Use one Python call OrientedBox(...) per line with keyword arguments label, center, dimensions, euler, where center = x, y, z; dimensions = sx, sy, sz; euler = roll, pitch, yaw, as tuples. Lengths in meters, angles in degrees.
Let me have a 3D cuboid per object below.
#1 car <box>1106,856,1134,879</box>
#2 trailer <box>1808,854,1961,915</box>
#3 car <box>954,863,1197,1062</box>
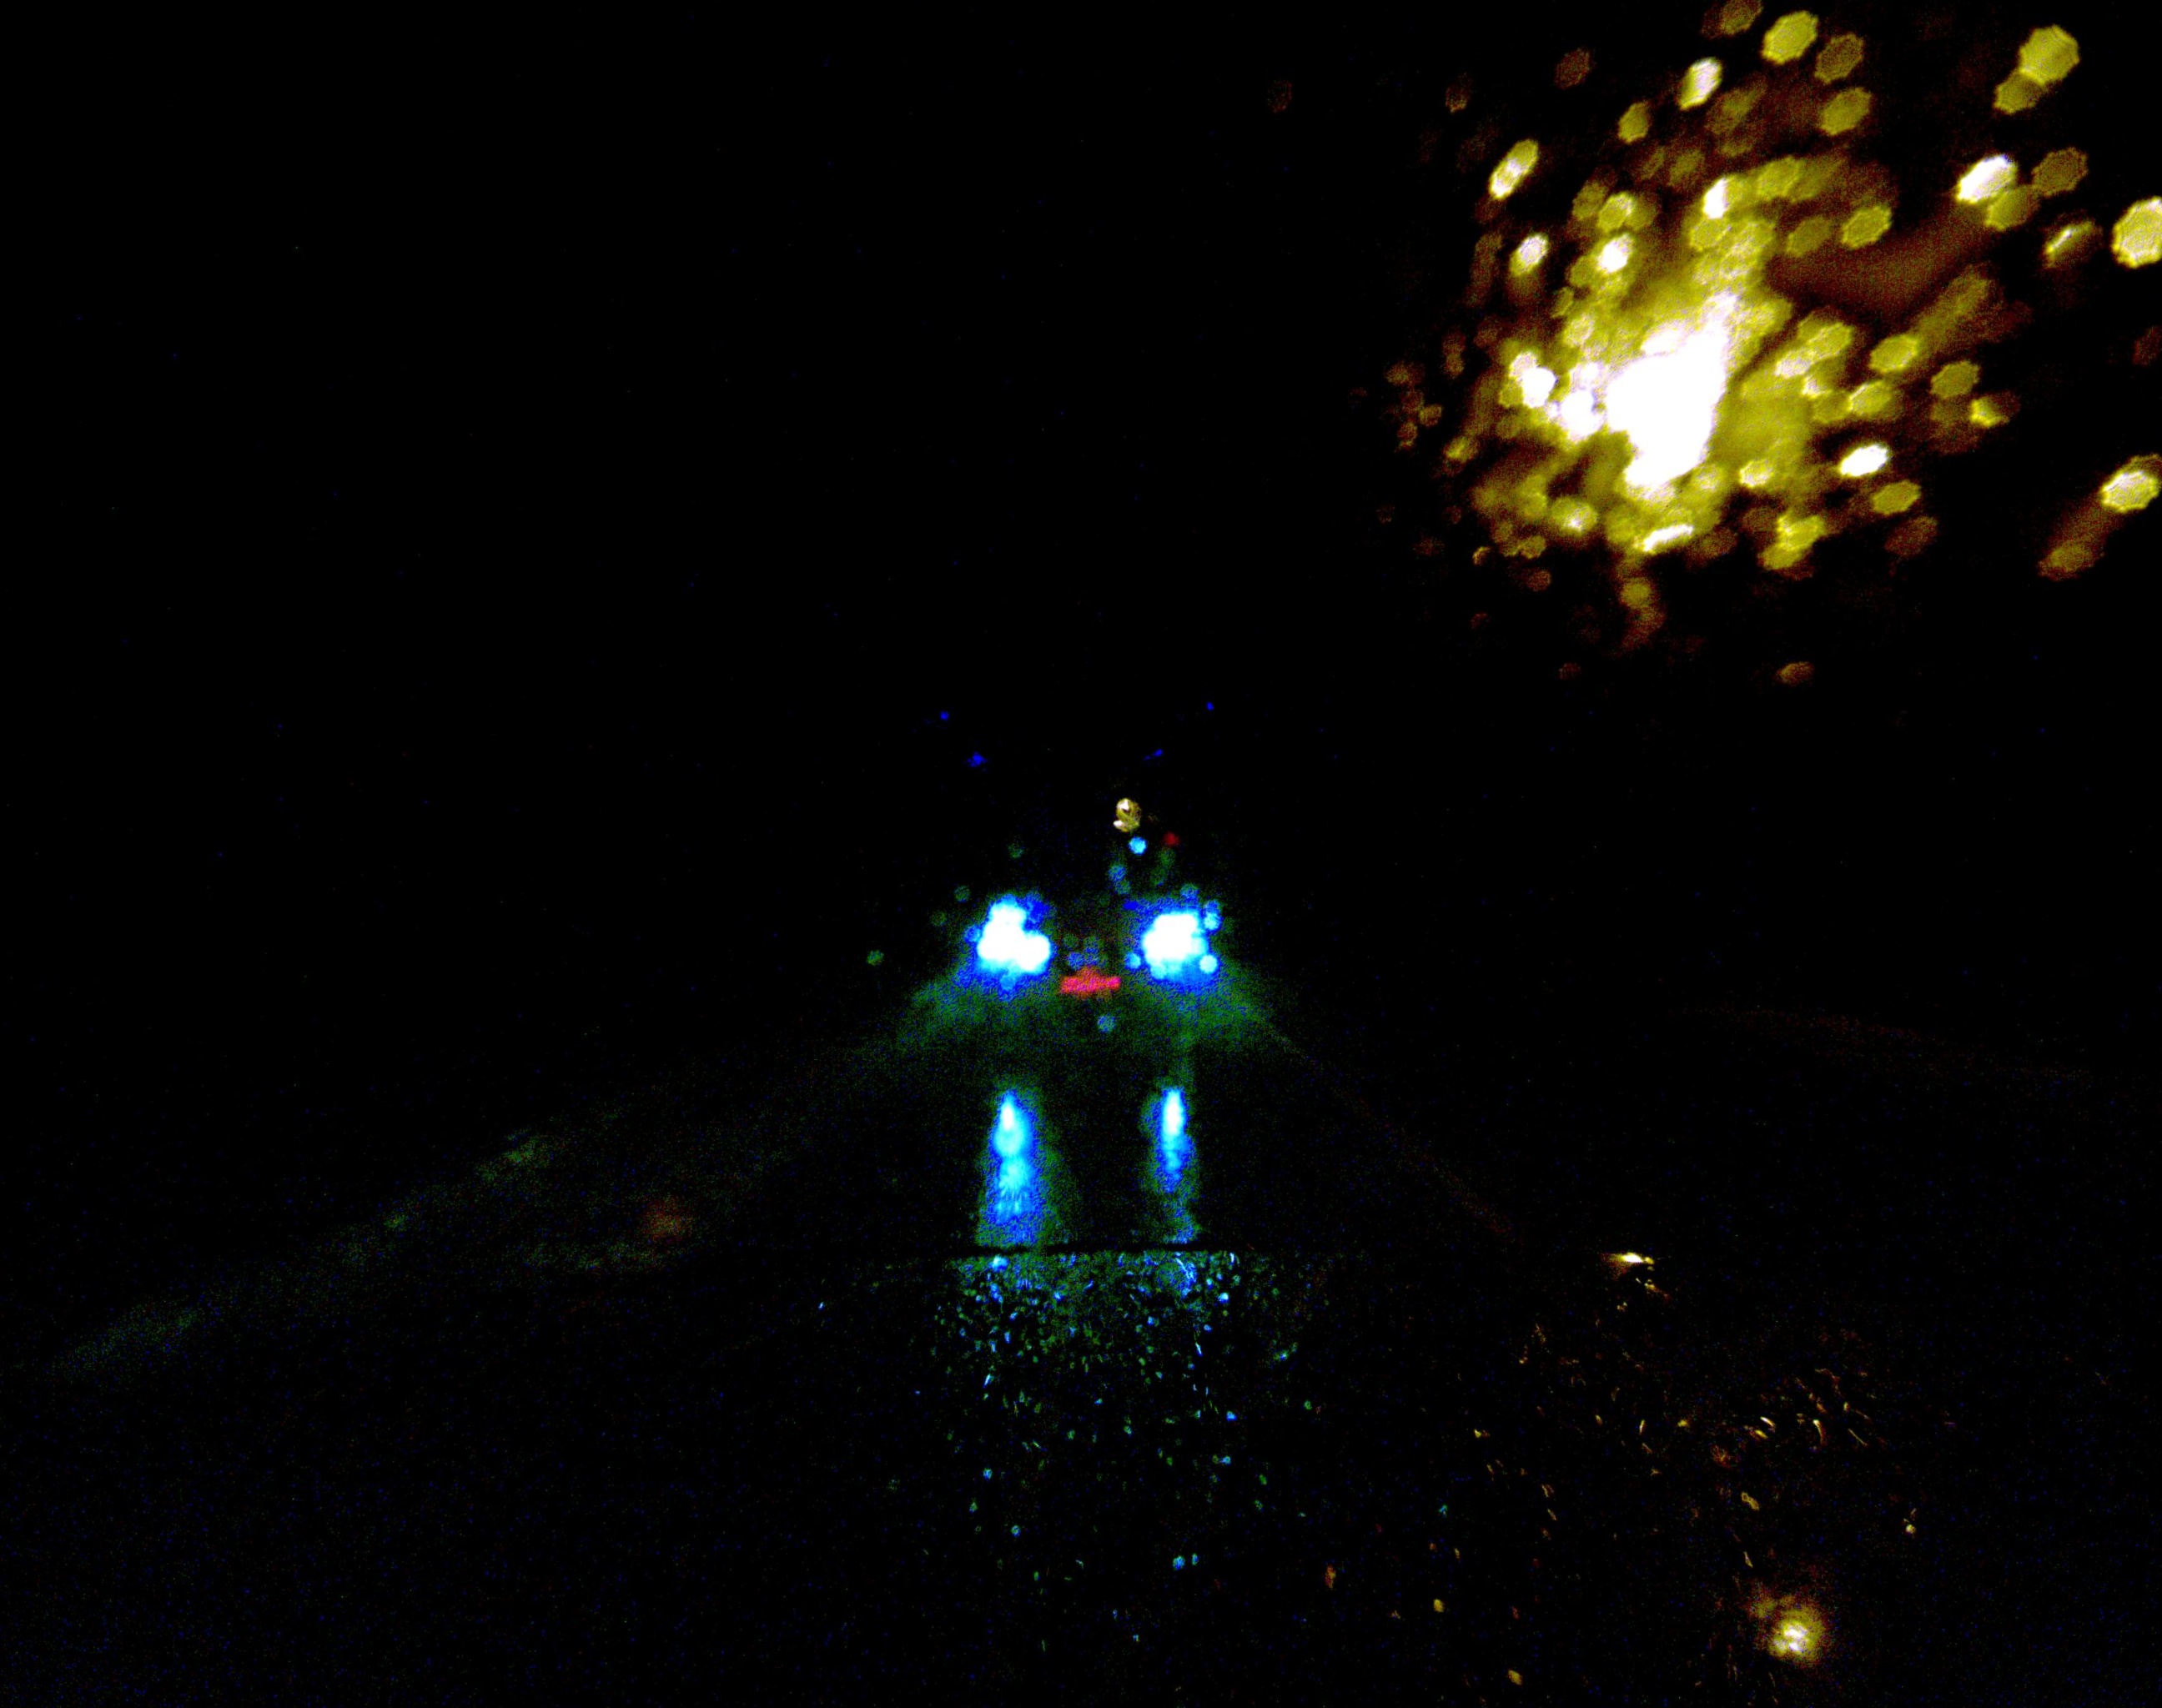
OrientedBox(label="car", center=(2.781, 0.988, 55.060), dimensions=(1.878, 1.535, 4.357), euler=(2, -2, 1))
OrientedBox(label="trailer", center=(33.517, 1.214, 31.849), dimensions=(3.801, 2.205, 1.976), euler=(3, 2, 19))
OrientedBox(label="car", center=(0.005, 0.905, 8.538), dimensions=(1.944, 1.580, 4.776), euler=(-1, 0, 1))
